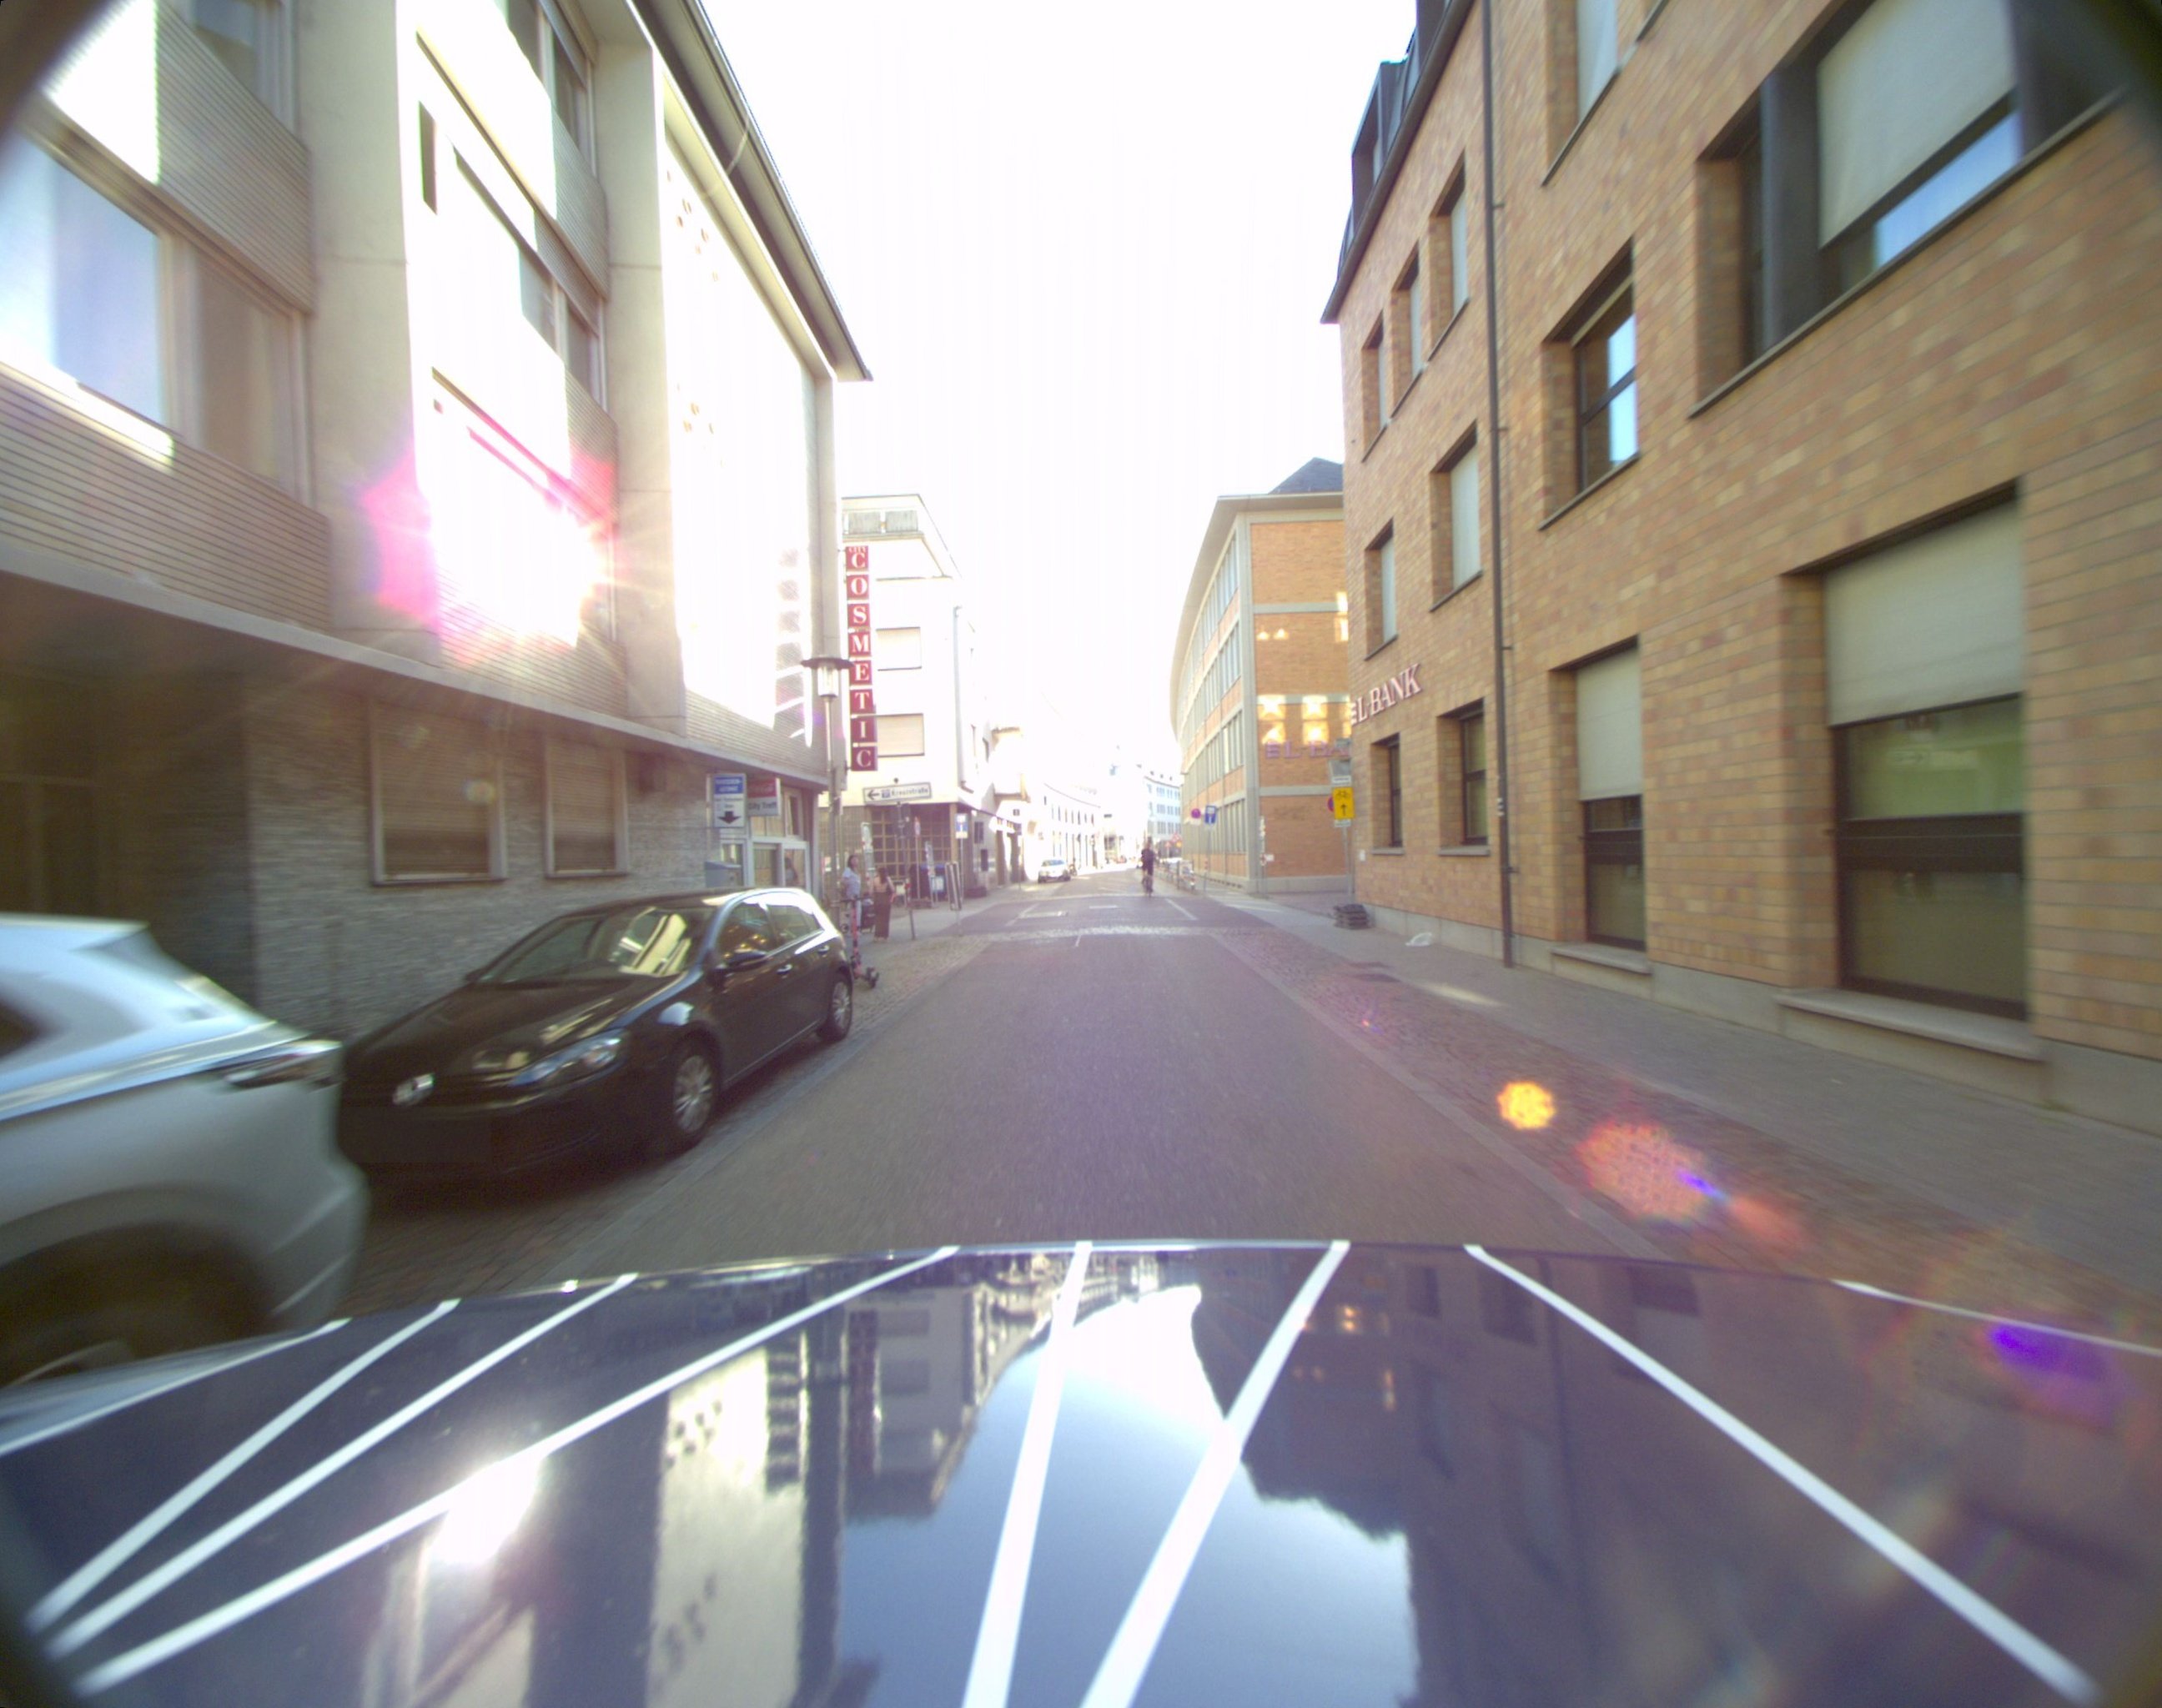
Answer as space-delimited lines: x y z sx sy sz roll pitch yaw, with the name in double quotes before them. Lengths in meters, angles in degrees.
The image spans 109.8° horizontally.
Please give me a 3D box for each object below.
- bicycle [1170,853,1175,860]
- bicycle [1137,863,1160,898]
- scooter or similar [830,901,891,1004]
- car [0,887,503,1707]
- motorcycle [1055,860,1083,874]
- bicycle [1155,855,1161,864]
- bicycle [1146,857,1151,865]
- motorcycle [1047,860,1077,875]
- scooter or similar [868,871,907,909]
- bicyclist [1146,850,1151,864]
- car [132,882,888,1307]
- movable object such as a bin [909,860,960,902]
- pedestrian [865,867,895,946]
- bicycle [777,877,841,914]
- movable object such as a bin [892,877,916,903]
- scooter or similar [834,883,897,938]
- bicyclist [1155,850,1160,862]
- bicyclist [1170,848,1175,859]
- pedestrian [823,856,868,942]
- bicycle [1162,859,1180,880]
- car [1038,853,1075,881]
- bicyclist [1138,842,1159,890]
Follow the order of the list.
"bicycle" 12.967 0.304 107.789 0.622 0.955 1.721 -2 1 8
"bicycle" 2.394 0.918 27.103 0.652 1.125 1.735 2 1 1
"scooter or similar" -2.946 1.261 10.096 0.495 1.187 1.304 -3 1 -27
"car" -3.041 1.045 0.125 1.998 1.692 4.843 -4 0 1
"motorcycle" -0.913 0.964 57.033 1.995 0.950 0.646 -2 1 16
"bicycle" 9.529 0.673 94.107 0.576 0.955 1.721 -2 1 8
"bicycle" 7.513 0.729 84.657 0.524 0.843 1.491 -2 1 7
"motorcycle" -1.344 0.926 53.139 1.995 0.950 0.646 -2 1 16
"scooter or similar" -6.641 1.229 26.120 1.162 1.216 0.498 -2 1 0
"bicyclist" 7.504 0.302 84.596 0.472 1.495 0.795 -2 1 6
"car" -3.030 1.122 5.545 1.827 1.496 4.599 -5 0 2
"movable object such as a bin" -5.504 0.999 28.516 1.437 1.454 1.126 -3 1 -40
"pedestrian" -4.032 1.042 15.280 0.574 1.532 0.440 0 1 -15
"bicycle" -9.186 1.396 25.696 1.891 1.120 0.682 -3 1 6
"movable object such as a bin" -6.527 1.314 28.036 0.598 0.921 0.605 -3 1 -40
"scooter or similar" -4.840 1.247 17.079 0.869 1.169 1.047 -1 -1 44
"bicyclist" 9.528 0.251 94.265 0.580 1.565 0.692 -2 0 7
"bicyclist" 12.961 -0.086 107.936 0.580 1.565 0.692 -2 0 9
"pedestrian" -4.962 0.929 15.992 0.625 1.726 0.623 -1 1 45
"bicycle" 4.787 0.809 40.520 0.628 1.048 1.822 -2 1 -4
"car" -1.425 0.746 45.916 1.846 1.453 3.999 -3 0 3
"bicyclist" 2.402 0.415 27.138 0.664 1.633 0.925 2 2 1
